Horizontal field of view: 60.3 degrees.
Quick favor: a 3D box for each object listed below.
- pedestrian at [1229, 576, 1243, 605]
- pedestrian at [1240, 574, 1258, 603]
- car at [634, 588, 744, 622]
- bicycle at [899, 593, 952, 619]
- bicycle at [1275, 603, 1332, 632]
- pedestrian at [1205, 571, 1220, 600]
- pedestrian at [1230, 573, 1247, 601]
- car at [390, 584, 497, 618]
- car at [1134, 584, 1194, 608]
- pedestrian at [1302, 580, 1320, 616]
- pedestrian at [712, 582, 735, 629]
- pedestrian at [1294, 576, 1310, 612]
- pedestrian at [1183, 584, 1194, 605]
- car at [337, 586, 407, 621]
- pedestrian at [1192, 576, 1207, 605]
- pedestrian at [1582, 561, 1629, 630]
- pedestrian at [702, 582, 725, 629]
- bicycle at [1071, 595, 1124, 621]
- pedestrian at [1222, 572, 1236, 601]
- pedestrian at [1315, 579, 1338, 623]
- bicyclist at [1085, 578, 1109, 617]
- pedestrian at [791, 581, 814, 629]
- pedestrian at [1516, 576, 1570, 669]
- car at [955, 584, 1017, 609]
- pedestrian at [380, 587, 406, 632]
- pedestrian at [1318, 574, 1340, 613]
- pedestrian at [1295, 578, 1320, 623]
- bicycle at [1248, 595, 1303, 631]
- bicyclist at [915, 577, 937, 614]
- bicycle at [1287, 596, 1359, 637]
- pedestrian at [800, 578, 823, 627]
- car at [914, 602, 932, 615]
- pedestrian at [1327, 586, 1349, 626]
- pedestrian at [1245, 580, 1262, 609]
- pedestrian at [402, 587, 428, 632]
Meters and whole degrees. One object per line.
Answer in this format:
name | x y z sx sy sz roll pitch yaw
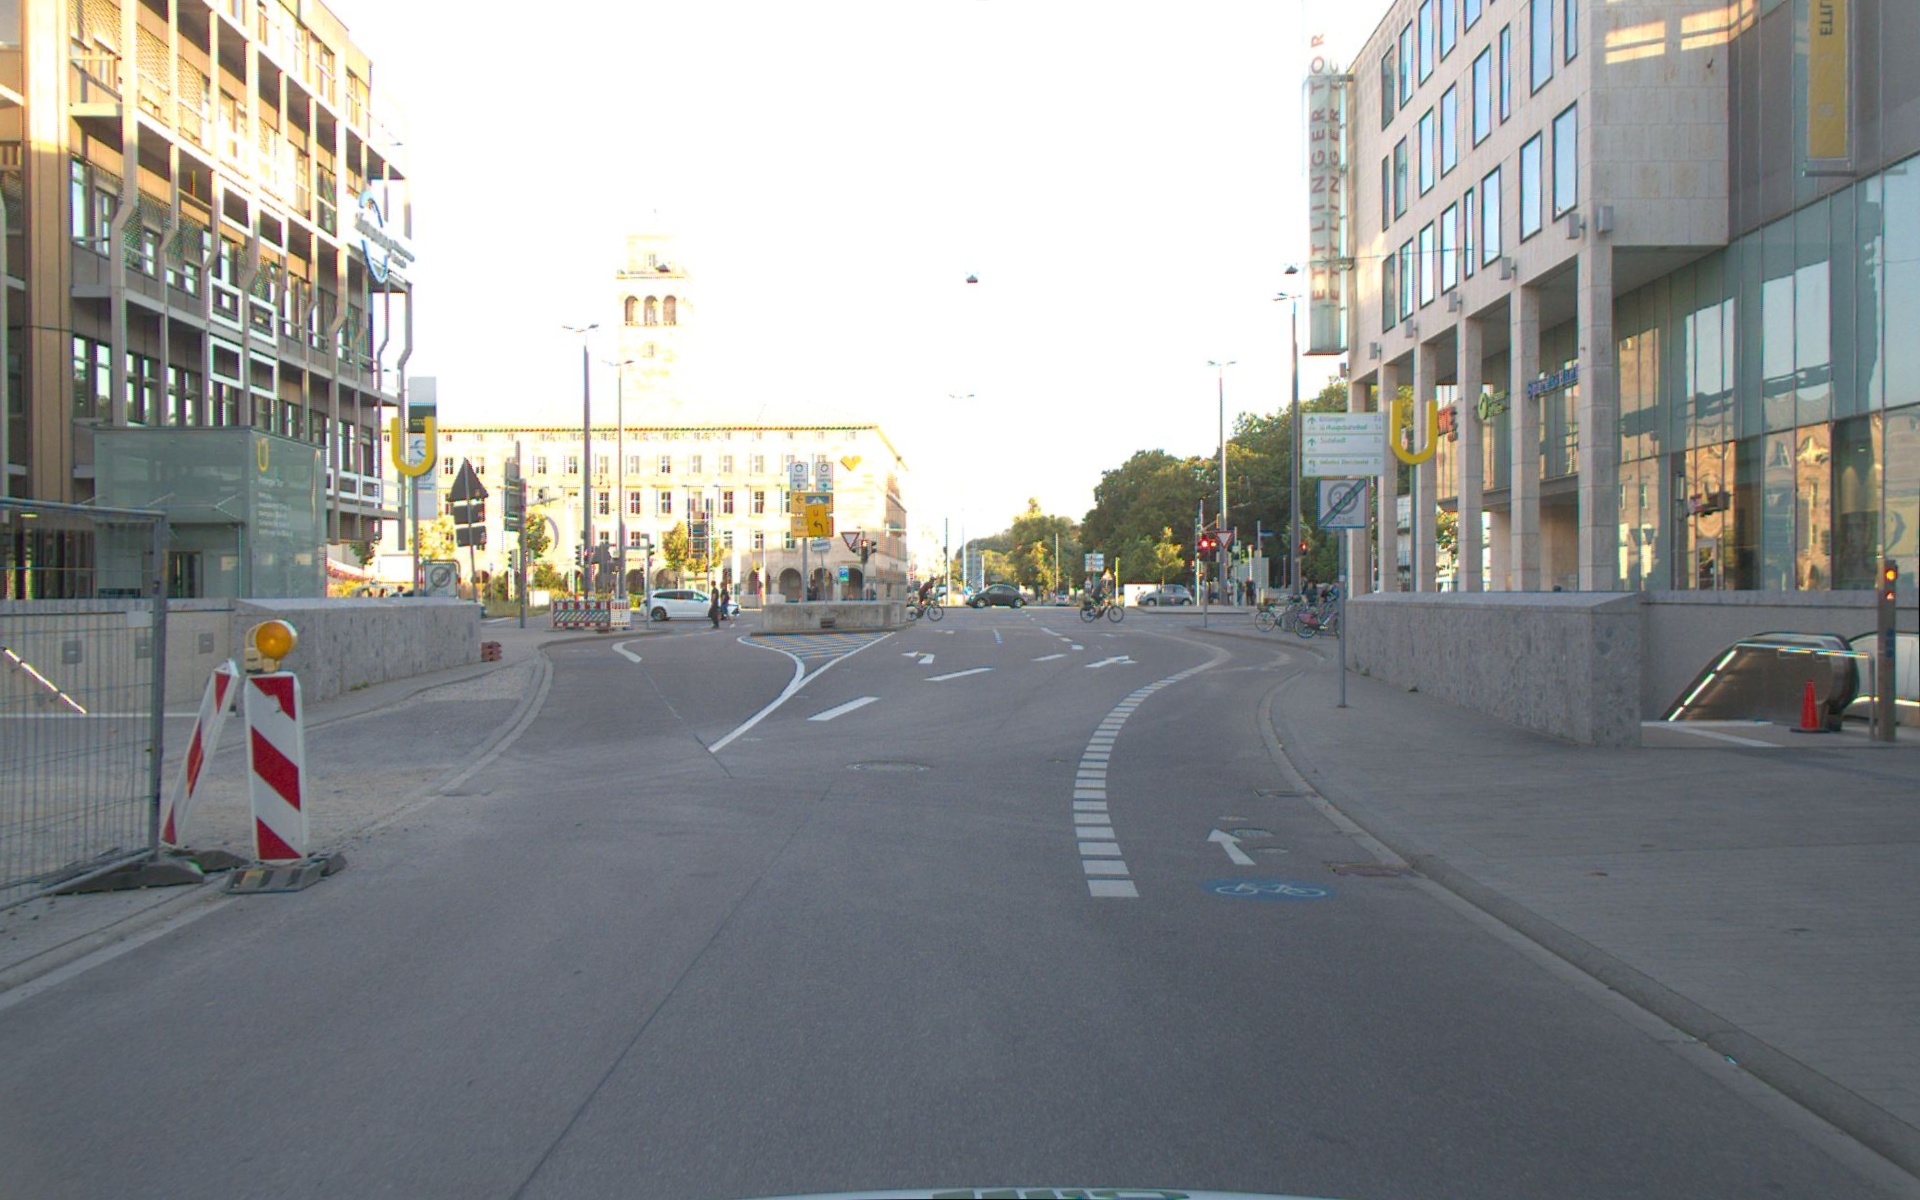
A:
pedestrian | 16.753 -0.587 100.540 0.791 1.760 0.688 0 0 13
pedestrian | 17.559 -0.717 100.514 0.797 1.760 0.683 0 0 -23
car | -12.558 0.205 76.861 4.698 1.522 2.128 0 0 0
bicycle | -1.461 0.263 70.527 2.195 1.080 0.654 -1 0 2
bicycle | 11.521 0.587 55.511 1.829 0.952 0.516 0 0 -1
pedestrian | 15.321 -0.874 100.427 0.792 1.760 0.688 0 0 -1
pedestrian | 17.171 -0.801 102.034 0.795 1.760 0.685 0 0 37
car | -23.995 0.050 76.979 4.374 1.522 2.126 0 0 -5
car | 13.257 -0.273 107.712 3.642 1.478 1.544 0 0 -6
pedestrian | 17.605 -0.095 82.938 0.818 1.760 0.688 0 0 9
pedestrian | -9.503 0.218 66.428 0.723 1.808 0.863 -3 0 -2
pedestrian | 16.682 -0.283 80.694 0.677 1.760 0.741 0 0 3
pedestrian | 19.167 -0.492 138.556 0.792 1.760 0.929 0 0 -1
car | -28.917 0.162 81.409 3.077 1.714 1.607 0 0 -13
pedestrian | 14.507 -0.569 100.340 0.792 1.760 0.688 0 0 -1
pedestrian | 17.374 -0.126 44.517 0.843 1.808 0.990 -2 0 0
pedestrian | -9.766 0.223 65.515 0.723 1.808 0.863 -3 0 -2
bicycle | 5.866 0.327 70.595 2.195 1.080 0.654 -1 0 2
pedestrian | 16.463 -0.816 101.318 0.791 1.760 0.688 0 0 13
pedestrian | 15.306 0.042 69.096 0.740 1.808 0.741 -3 0 2
bicyclist | 5.838 -0.123 70.597 0.998 1.649 0.654 0 0 2
pedestrian | -6.022 0.182 63.188 0.726 1.808 0.859 1 0 -17
pedestrian | 11.255 0.422 31.957 0.818 1.765 0.820 0 0 8
car | 1.689 -0.229 105.821 3.904 1.520 1.829 -1 0 1
pedestrian | -23.256 0.390 67.850 0.732 1.808 0.852 -3 0 -36
pedestrian | 16.875 -0.290 75.548 0.874 1.760 0.688 0 0 3
pedestrian | 14.531 0.011 69.145 0.843 1.808 0.741 -3 0 2
bicycle | 10.680 0.438 55.910 1.779 1.233 0.571 0 0 16
bicyclist | -1.449 -0.199 70.530 0.861 1.557 0.654 0 0 2
bicycle | 10.106 0.457 46.102 1.858 1.066 0.571 2 0 6
pedestrian | -5.601 0.108 62.265 0.726 1.808 0.860 -1 0 -14
car | -4.751 1.059 212.376 1.952 1.545 4.001 -1 0 2
pedestrian | 16.834 0.280 73.640 0.874 1.760 0.688 0 0 4
pedestrian | 18.048 -0.359 101.727 0.677 1.760 0.804 0 0 -25
pedestrian | -22.430 0.377 68.024 0.732 1.808 0.852 -3 0 -36
